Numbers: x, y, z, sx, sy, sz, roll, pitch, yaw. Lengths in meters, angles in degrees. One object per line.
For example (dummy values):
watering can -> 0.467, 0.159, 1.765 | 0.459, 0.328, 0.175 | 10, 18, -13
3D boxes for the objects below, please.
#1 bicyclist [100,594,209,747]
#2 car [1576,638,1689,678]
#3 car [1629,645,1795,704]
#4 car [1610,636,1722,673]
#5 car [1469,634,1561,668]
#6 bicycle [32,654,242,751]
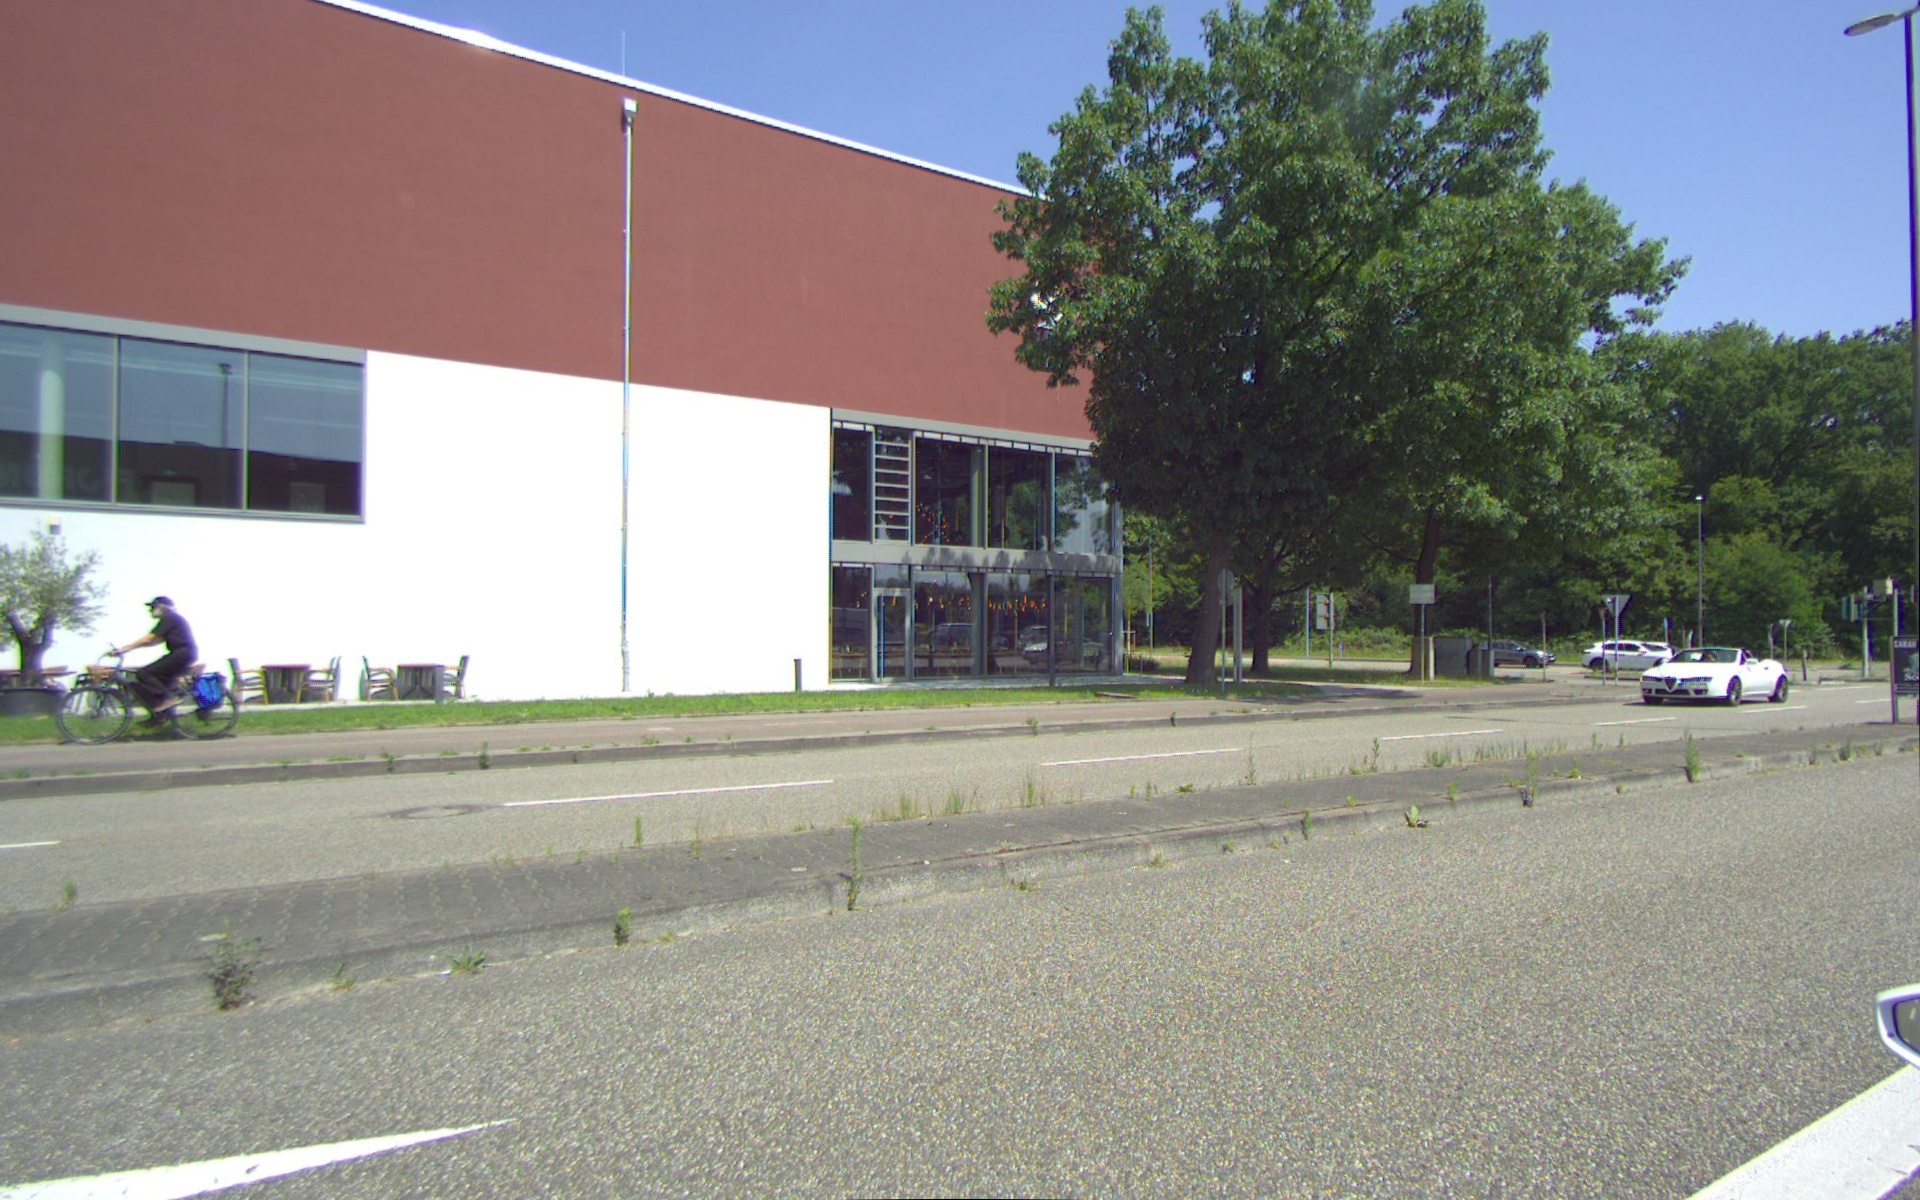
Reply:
bicyclist -> -9.815, 0.842, 12.277 | 0.917, 1.793, 0.646 | 1, -1, -30
car -> 33.405, 2.870, 49.996 | 1.794, 1.704, 4.338 | 2, 0, -37
car -> 18.104, 1.755, 24.148 | 4.252, 1.279, 1.710 | 1, -4, -31
car -> 36.553, 2.849, 52.101 | 1.794, 1.703, 4.340 | 2, -6, -37
car -> 32.187, 2.944, 58.342 | 1.796, 1.704, 4.332 | 2, -1, -41
bicycle -> -9.923, 1.211, 12.209 | 1.862, 1.065, 0.652 | 1, -1, -31
